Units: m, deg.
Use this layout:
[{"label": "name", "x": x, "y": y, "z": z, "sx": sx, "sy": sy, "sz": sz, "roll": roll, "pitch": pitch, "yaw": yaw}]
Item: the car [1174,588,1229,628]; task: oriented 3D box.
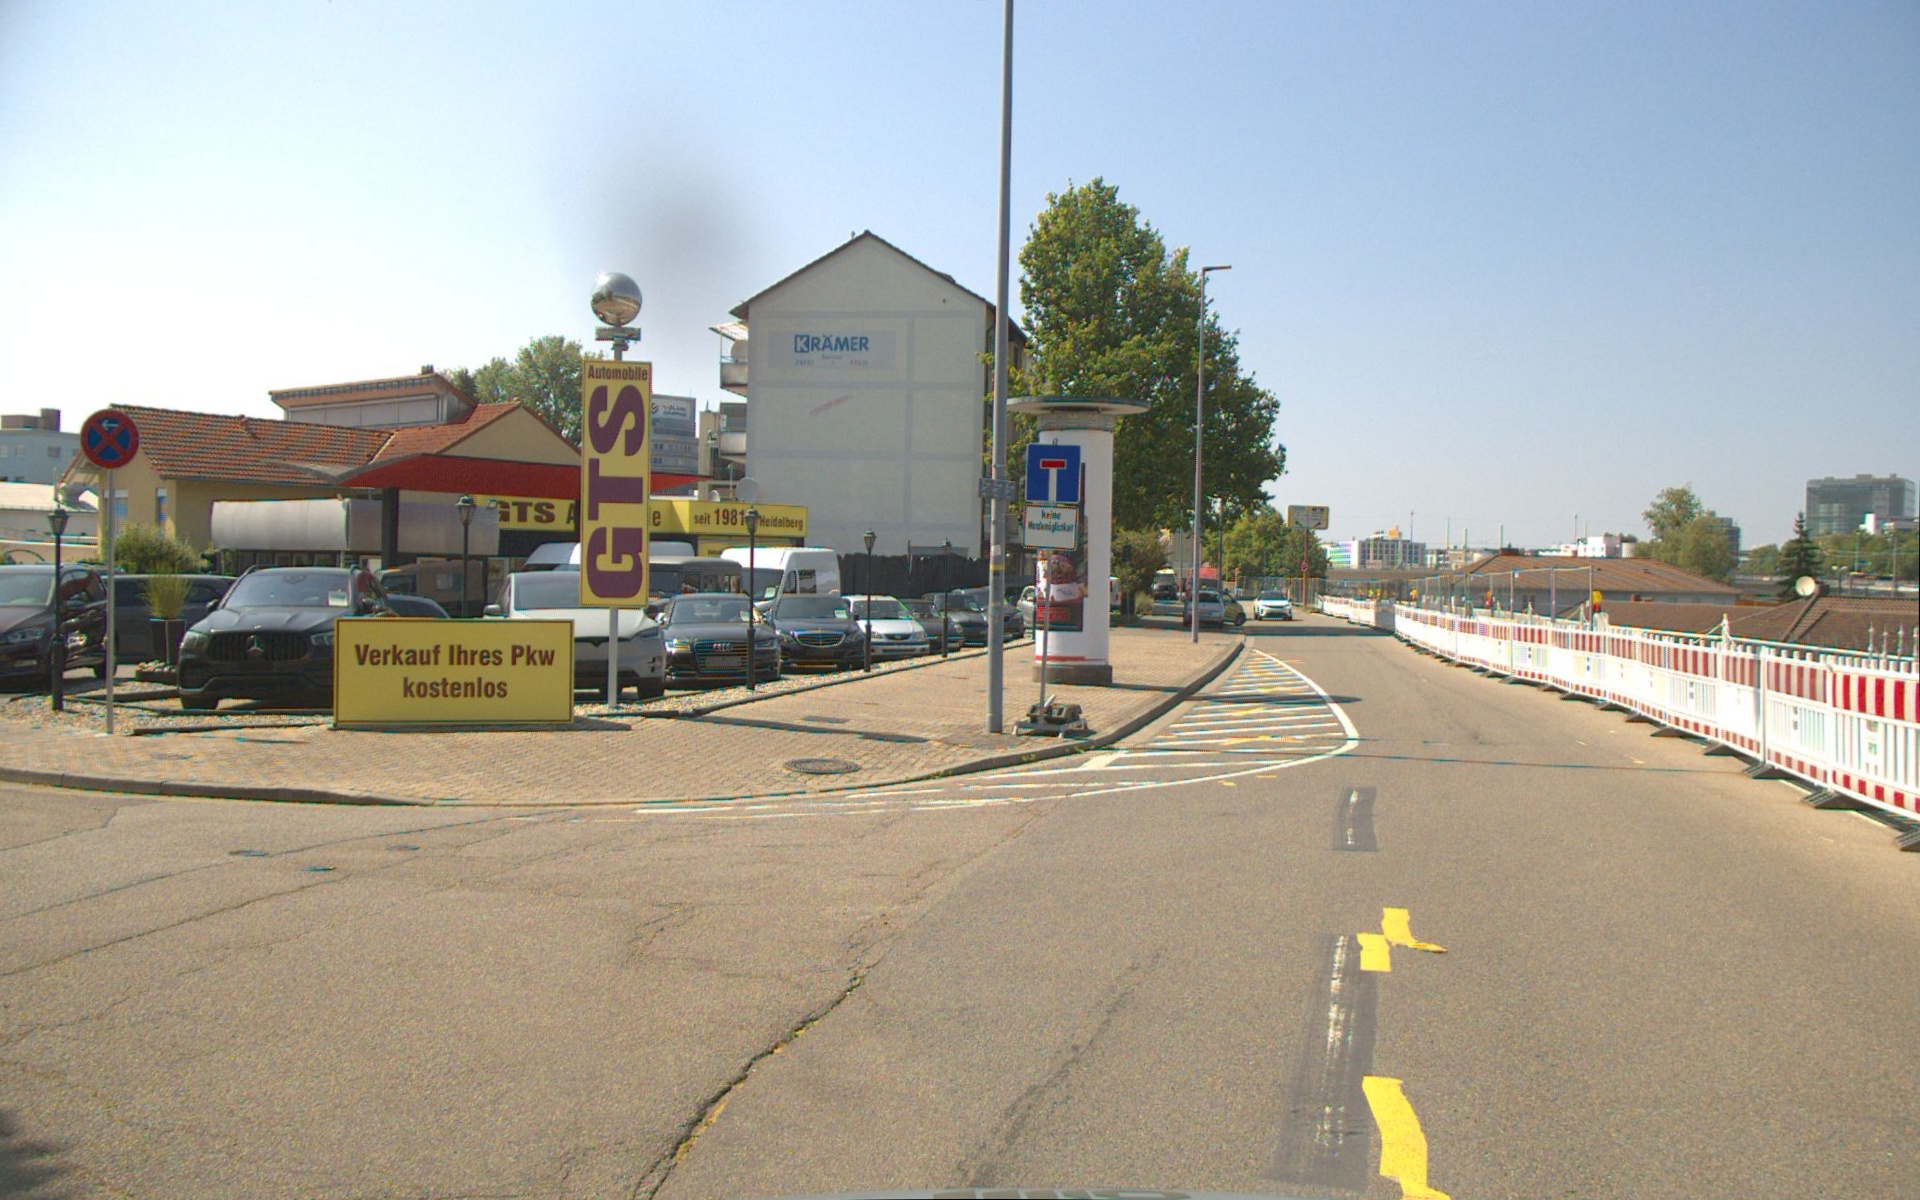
[{"label": "car", "x": 9.937, "y": 0.292, "z": 67.792, "sx": 1.829, "sy": 1.524, "sz": 4.035, "roll": 0, "pitch": 1, "yaw": 14}]

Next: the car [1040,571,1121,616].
[{"label": "car", "x": 5.905, "y": -0.326, "z": 80.855, "sx": 3.841, "sy": 1.993, "sz": 1.760, "roll": 2, "pitch": 0, "yaw": 4}]

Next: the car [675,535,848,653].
[{"label": "car", "x": -4.627, "y": -0.100, "z": 39.617, "sx": 2.198, "sy": 2.472, "sz": 5.723, "roll": 4, "pitch": 0, "yaw": 12}]

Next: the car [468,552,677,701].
[{"label": "car", "x": -5.217, "y": 0.392, "z": 21.780, "sx": 1.948, "sy": 1.737, "sz": 4.631, "roll": -1, "pitch": -2, "yaw": -23}]

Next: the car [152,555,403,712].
[{"label": "car", "x": -8.297, "y": 0.411, "z": 20.538, "sx": 2.006, "sy": 1.737, "sz": 4.303, "roll": 0, "pitch": -1, "yaw": -11}]

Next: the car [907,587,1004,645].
[{"label": "car", "x": -0.177, "y": 0.429, "z": 45.788, "sx": 1.640, "sy": 1.498, "sz": 3.982, "roll": -2, "pitch": 0, "yaw": -16}]

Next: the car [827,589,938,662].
[{"label": "car", "x": -1.809, "y": 0.560, "z": 37.295, "sx": 1.750, "sy": 1.498, "sz": 3.985, "roll": -2, "pitch": 0, "yaw": -14}]

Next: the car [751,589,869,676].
[{"label": "car", "x": -2.939, "y": 0.573, "z": 31.738, "sx": 1.803, "sy": 1.498, "sz": 3.989, "roll": -2, "pitch": 0, "yaw": -11}]

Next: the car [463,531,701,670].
[{"label": "car", "x": -8.176, "y": 0.029, "z": 36.577, "sx": 2.229, "sy": 2.806, "sz": 6.155, "roll": 0, "pitch": -1, "yaw": 18}]

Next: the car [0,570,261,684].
[{"label": "car", "x": -14.821, "y": 0.447, "z": 28.771, "sx": 4.817, "sy": 1.874, "sz": 2.145, "roll": 0, "pitch": 0, "yaw": -27}]

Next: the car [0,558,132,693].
[{"label": "car", "x": -12.880, "y": 0.316, "z": 22.654, "sx": 1.774, "sy": 1.685, "sz": 4.300, "roll": -1, "pitch": 0, "yaw": -13}]

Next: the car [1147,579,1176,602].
[{"label": "car", "x": 17.640, "y": -0.812, "z": 144.735, "sx": 1.896, "sy": 1.865, "sz": 3.927, "roll": 5, "pitch": 0, "yaw": 13}]

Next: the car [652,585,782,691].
[{"label": "car", "x": -3.946, "y": 0.565, "z": 26.410, "sx": 1.804, "sy": 1.498, "sz": 3.988, "roll": -2, "pitch": 0, "yaw": -12}]

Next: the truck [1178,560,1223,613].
[{"label": "truck", "x": 12.711, "y": -0.679, "z": 87.091, "sx": 2.190, "sy": 2.694, "sz": 5.686, "roll": 1, "pitch": 0, "yaw": 10}]

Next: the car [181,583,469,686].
[{"label": "car", "x": -10.783, "y": 0.523, "z": 28.483, "sx": 1.870, "sy": 1.602, "sz": 4.684, "roll": 1, "pitch": 1, "yaw": 24}]

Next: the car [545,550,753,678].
[{"label": "car", "x": -6.168, "y": 0.288, "z": 33.441, "sx": 2.198, "sy": 2.391, "sz": 4.826, "roll": 0, "pitch": -1, "yaw": 16}]

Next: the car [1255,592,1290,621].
[{"label": "car", "x": 16.203, "y": 0.344, "z": 85.864, "sx": 1.680, "sy": 1.440, "sz": 4.081, "roll": 1, "pitch": 0, "yaw": 10}]

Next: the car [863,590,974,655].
[{"label": "car", "x": -1.082, "y": 0.527, "z": 41.246, "sx": 1.642, "sy": 1.498, "sz": 3.978, "roll": -2, "pitch": 0, "yaw": -19}]

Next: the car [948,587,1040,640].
[{"label": "car", "x": 0.993, "y": 0.385, "z": 50.284, "sx": 1.640, "sy": 1.498, "sz": 3.982, "roll": -2, "pitch": 0, "yaw": -16}]
